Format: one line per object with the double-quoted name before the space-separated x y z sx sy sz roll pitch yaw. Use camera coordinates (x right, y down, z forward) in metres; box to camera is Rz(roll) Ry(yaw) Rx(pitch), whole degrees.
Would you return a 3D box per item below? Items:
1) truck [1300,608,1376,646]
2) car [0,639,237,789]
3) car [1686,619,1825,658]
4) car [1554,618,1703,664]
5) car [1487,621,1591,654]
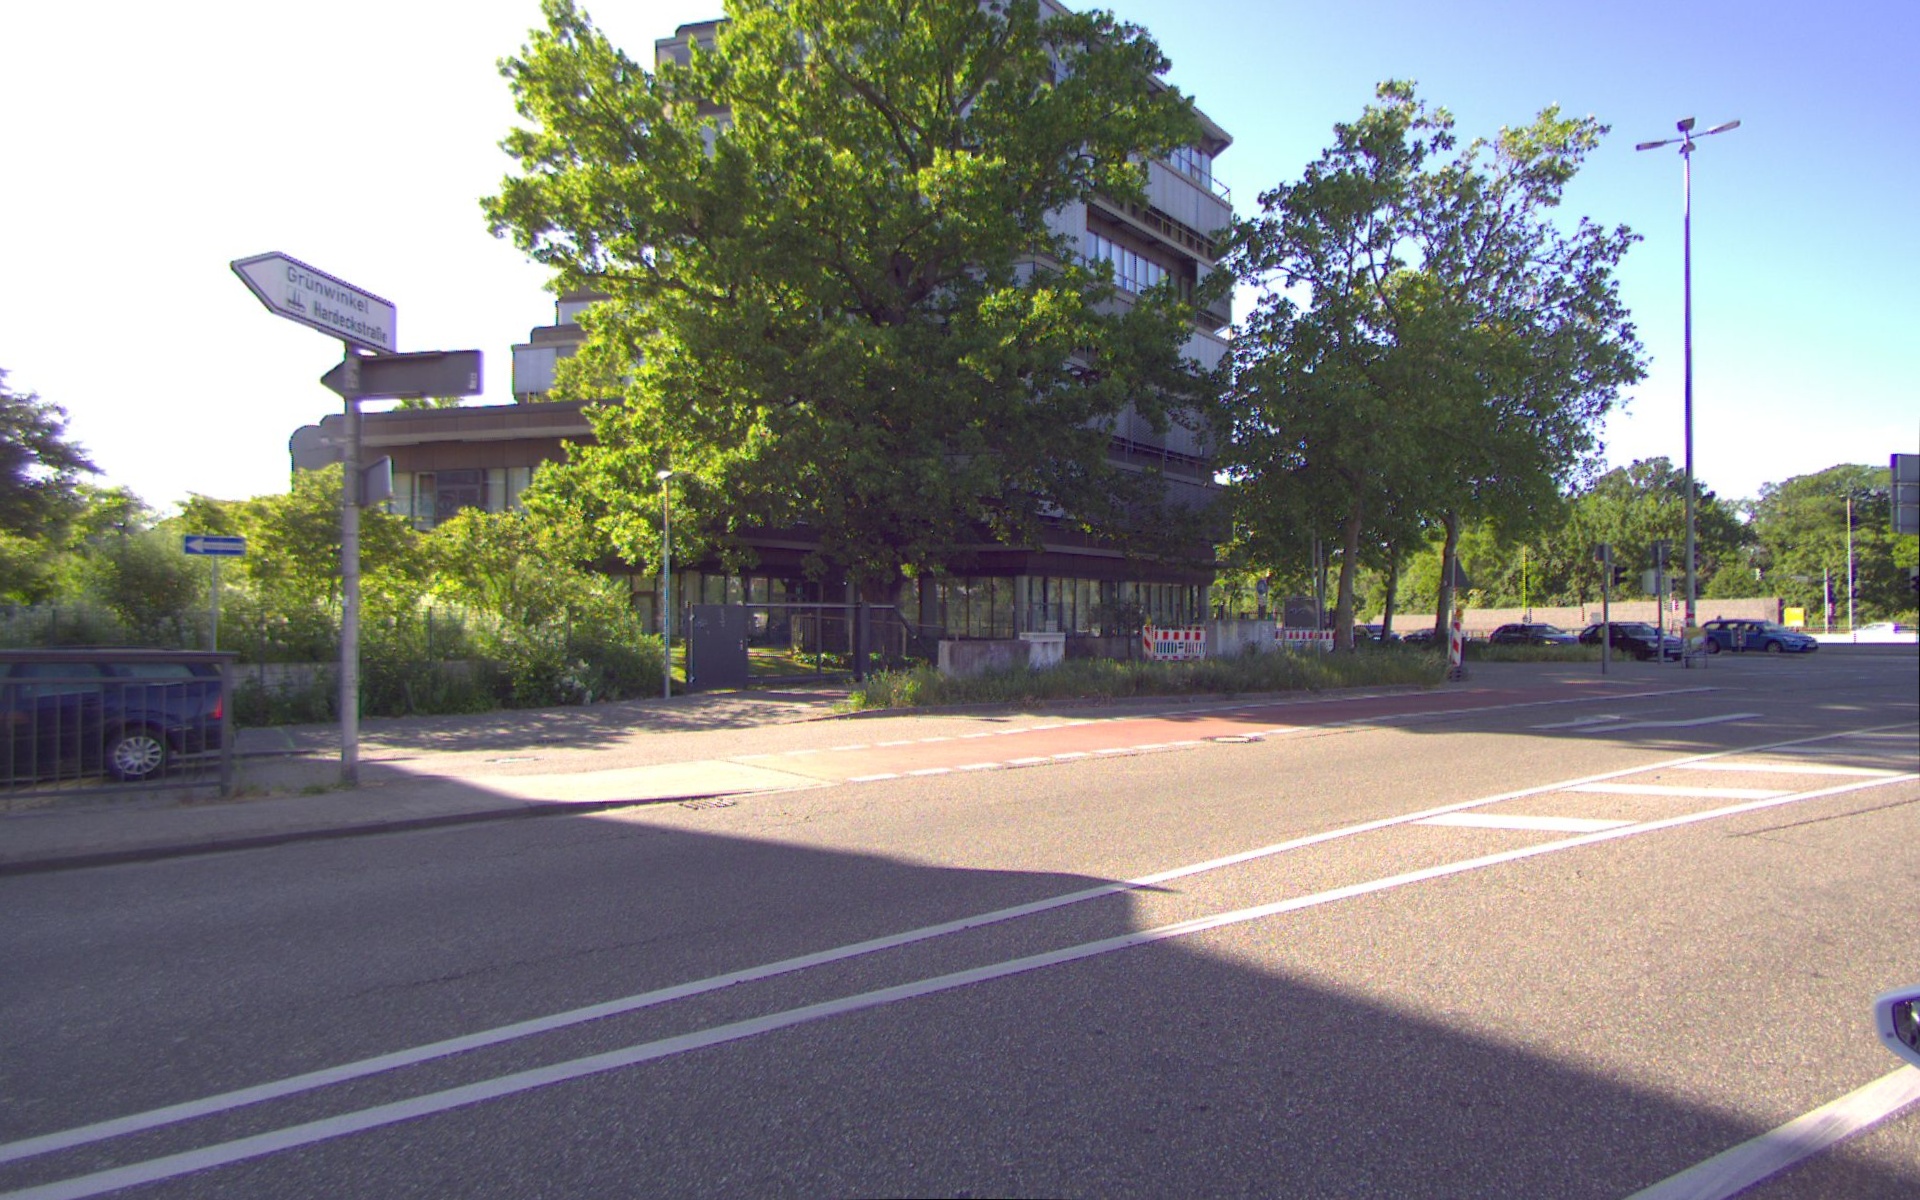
"truck" 24.943 1.749 66.668 2.121 2.391 7.515 0 -1 -1
"car" -10.800 1.293 11.249 4.339 1.528 1.642 -1 -3 -38
"car" 34.307 1.626 43.496 1.920 1.561 4.443 0 -1 -16
"car" 25.787 1.544 38.972 1.918 1.643 4.773 0 -1 -13
"car" 26.068 1.647 45.380 1.844 1.376 4.507 0 -1 -4
